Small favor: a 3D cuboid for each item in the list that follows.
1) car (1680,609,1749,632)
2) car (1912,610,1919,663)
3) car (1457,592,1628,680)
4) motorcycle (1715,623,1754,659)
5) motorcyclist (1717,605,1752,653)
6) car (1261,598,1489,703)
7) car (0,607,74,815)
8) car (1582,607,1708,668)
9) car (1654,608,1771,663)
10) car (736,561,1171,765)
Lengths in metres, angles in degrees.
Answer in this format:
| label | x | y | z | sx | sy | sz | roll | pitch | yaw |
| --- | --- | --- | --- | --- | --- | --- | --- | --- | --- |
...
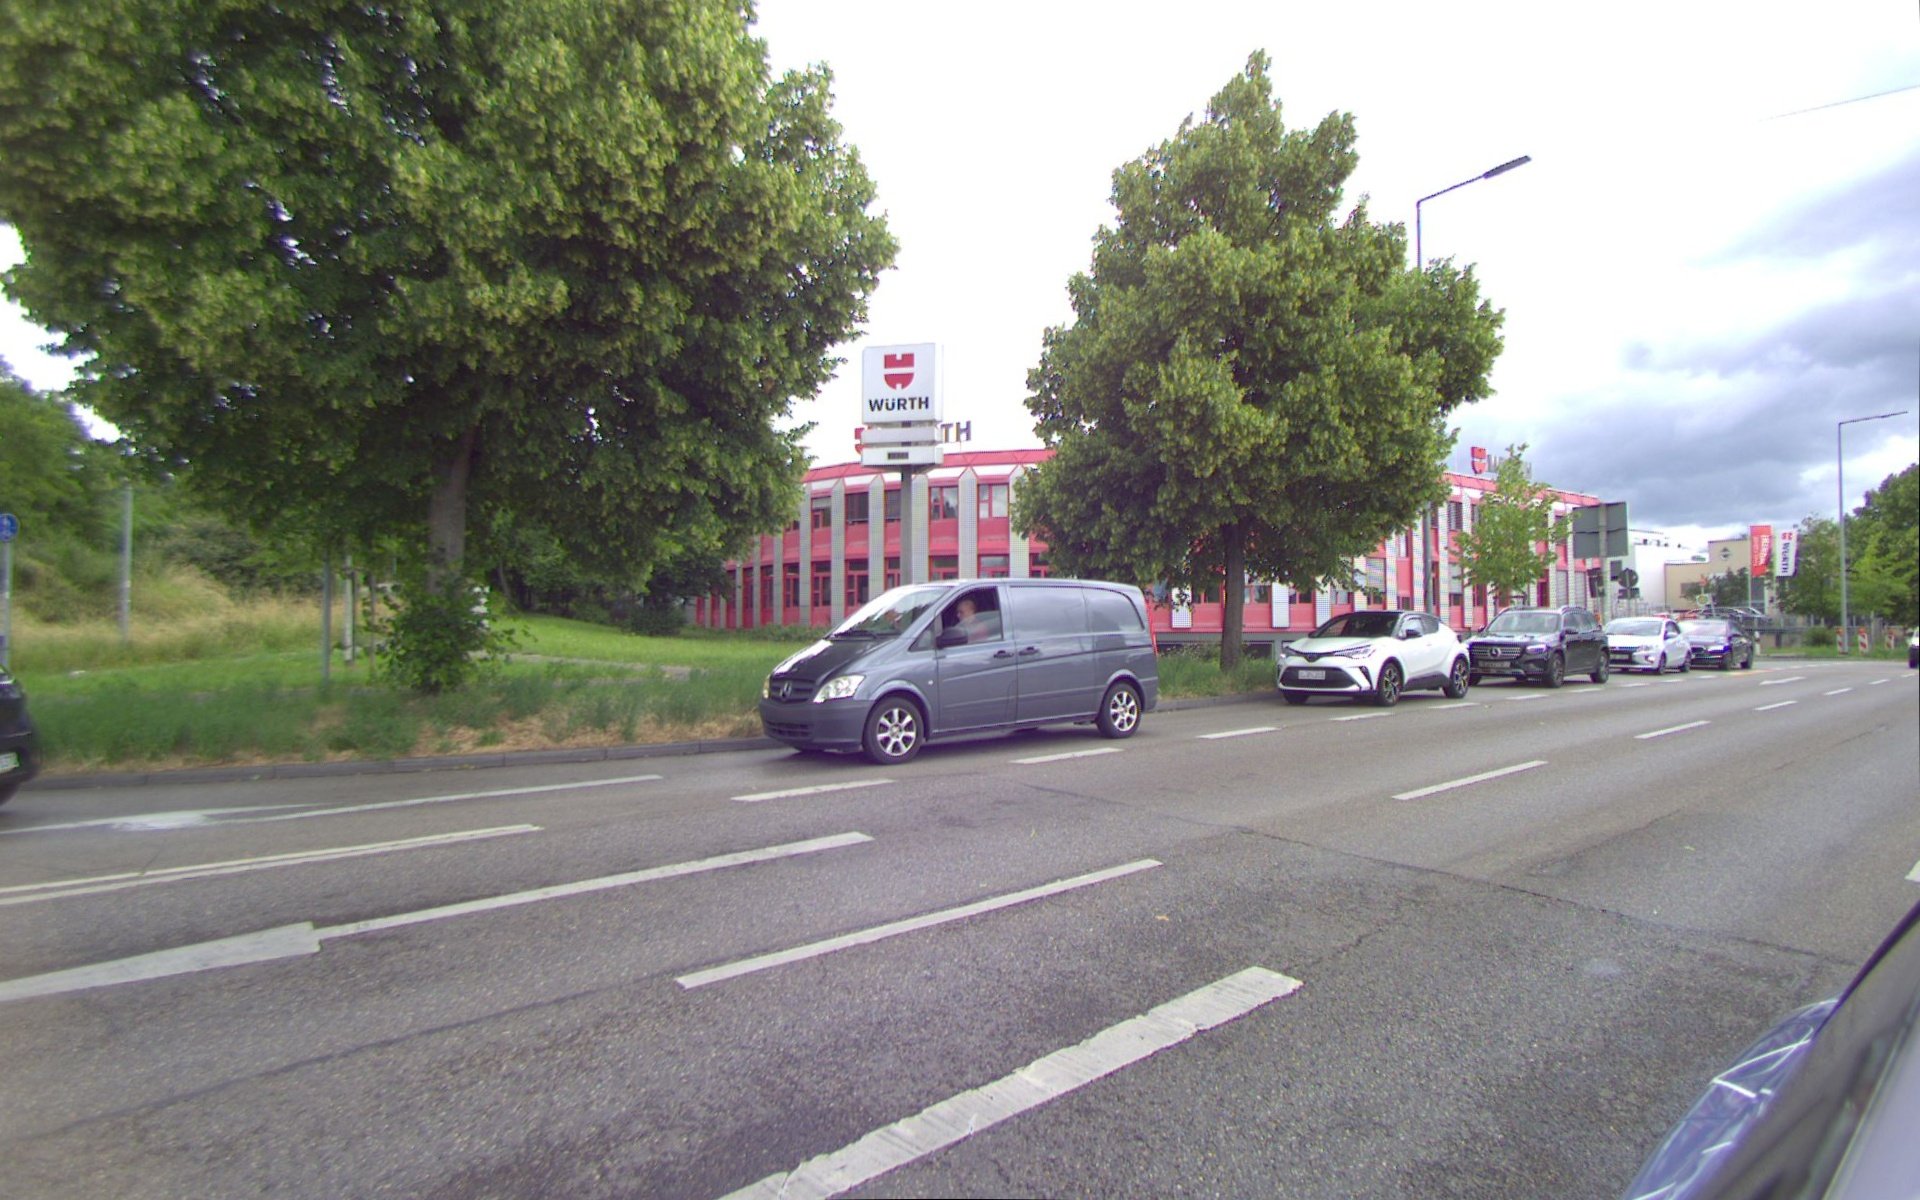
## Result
| label | x | y | z | sx | sy | sz | roll | pitch | yaw |
| --- | --- | --- | --- | --- | --- | --- | --- | --- | --- |
| car | 61.810 | 1.683 | 82.959 | 1.752 | 1.776 | 4.247 | 0 | 0 | -39 |
| car | 35.532 | 1.291 | 35.767 | 4.749 | 1.825 | 2.000 | 1 | 0 | -37 |
| car | 12.478 | 0.755 | 21.569 | 4.346 | 1.671 | 1.784 | 3 | -1 | -40 |
| motorcycle | 25.163 | 1.323 | 32.870 | 1.911 | 1.162 | 0.748 | 2 | -3 | -45 |
| motorcyclist | 25.216 | 0.944 | 32.941 | 0.918 | 1.510 | 0.748 | 2 | -3 | -44 |
| car | 7.037 | 0.791 | 16.968 | 4.230 | 1.555 | 1.783 | 0 | -3 | -41 |
| car | -8.438 | 0.812 | 6.674 | 3.539 | 1.449 | 1.628 | -1 | -3 | -18 |
| car | 18.187 | 0.992 | 26.817 | 3.766 | 1.461 | 1.784 | 3 | -1 | -40 |
| car | 22.215 | 1.055 | 29.816 | 4.446 | 1.464 | 1.784 | 3 | -1 | -40 |
| car | 0.055 | 0.615 | 11.368 | 4.634 | 1.858 | 1.920 | 0 | -3 | -37 |
